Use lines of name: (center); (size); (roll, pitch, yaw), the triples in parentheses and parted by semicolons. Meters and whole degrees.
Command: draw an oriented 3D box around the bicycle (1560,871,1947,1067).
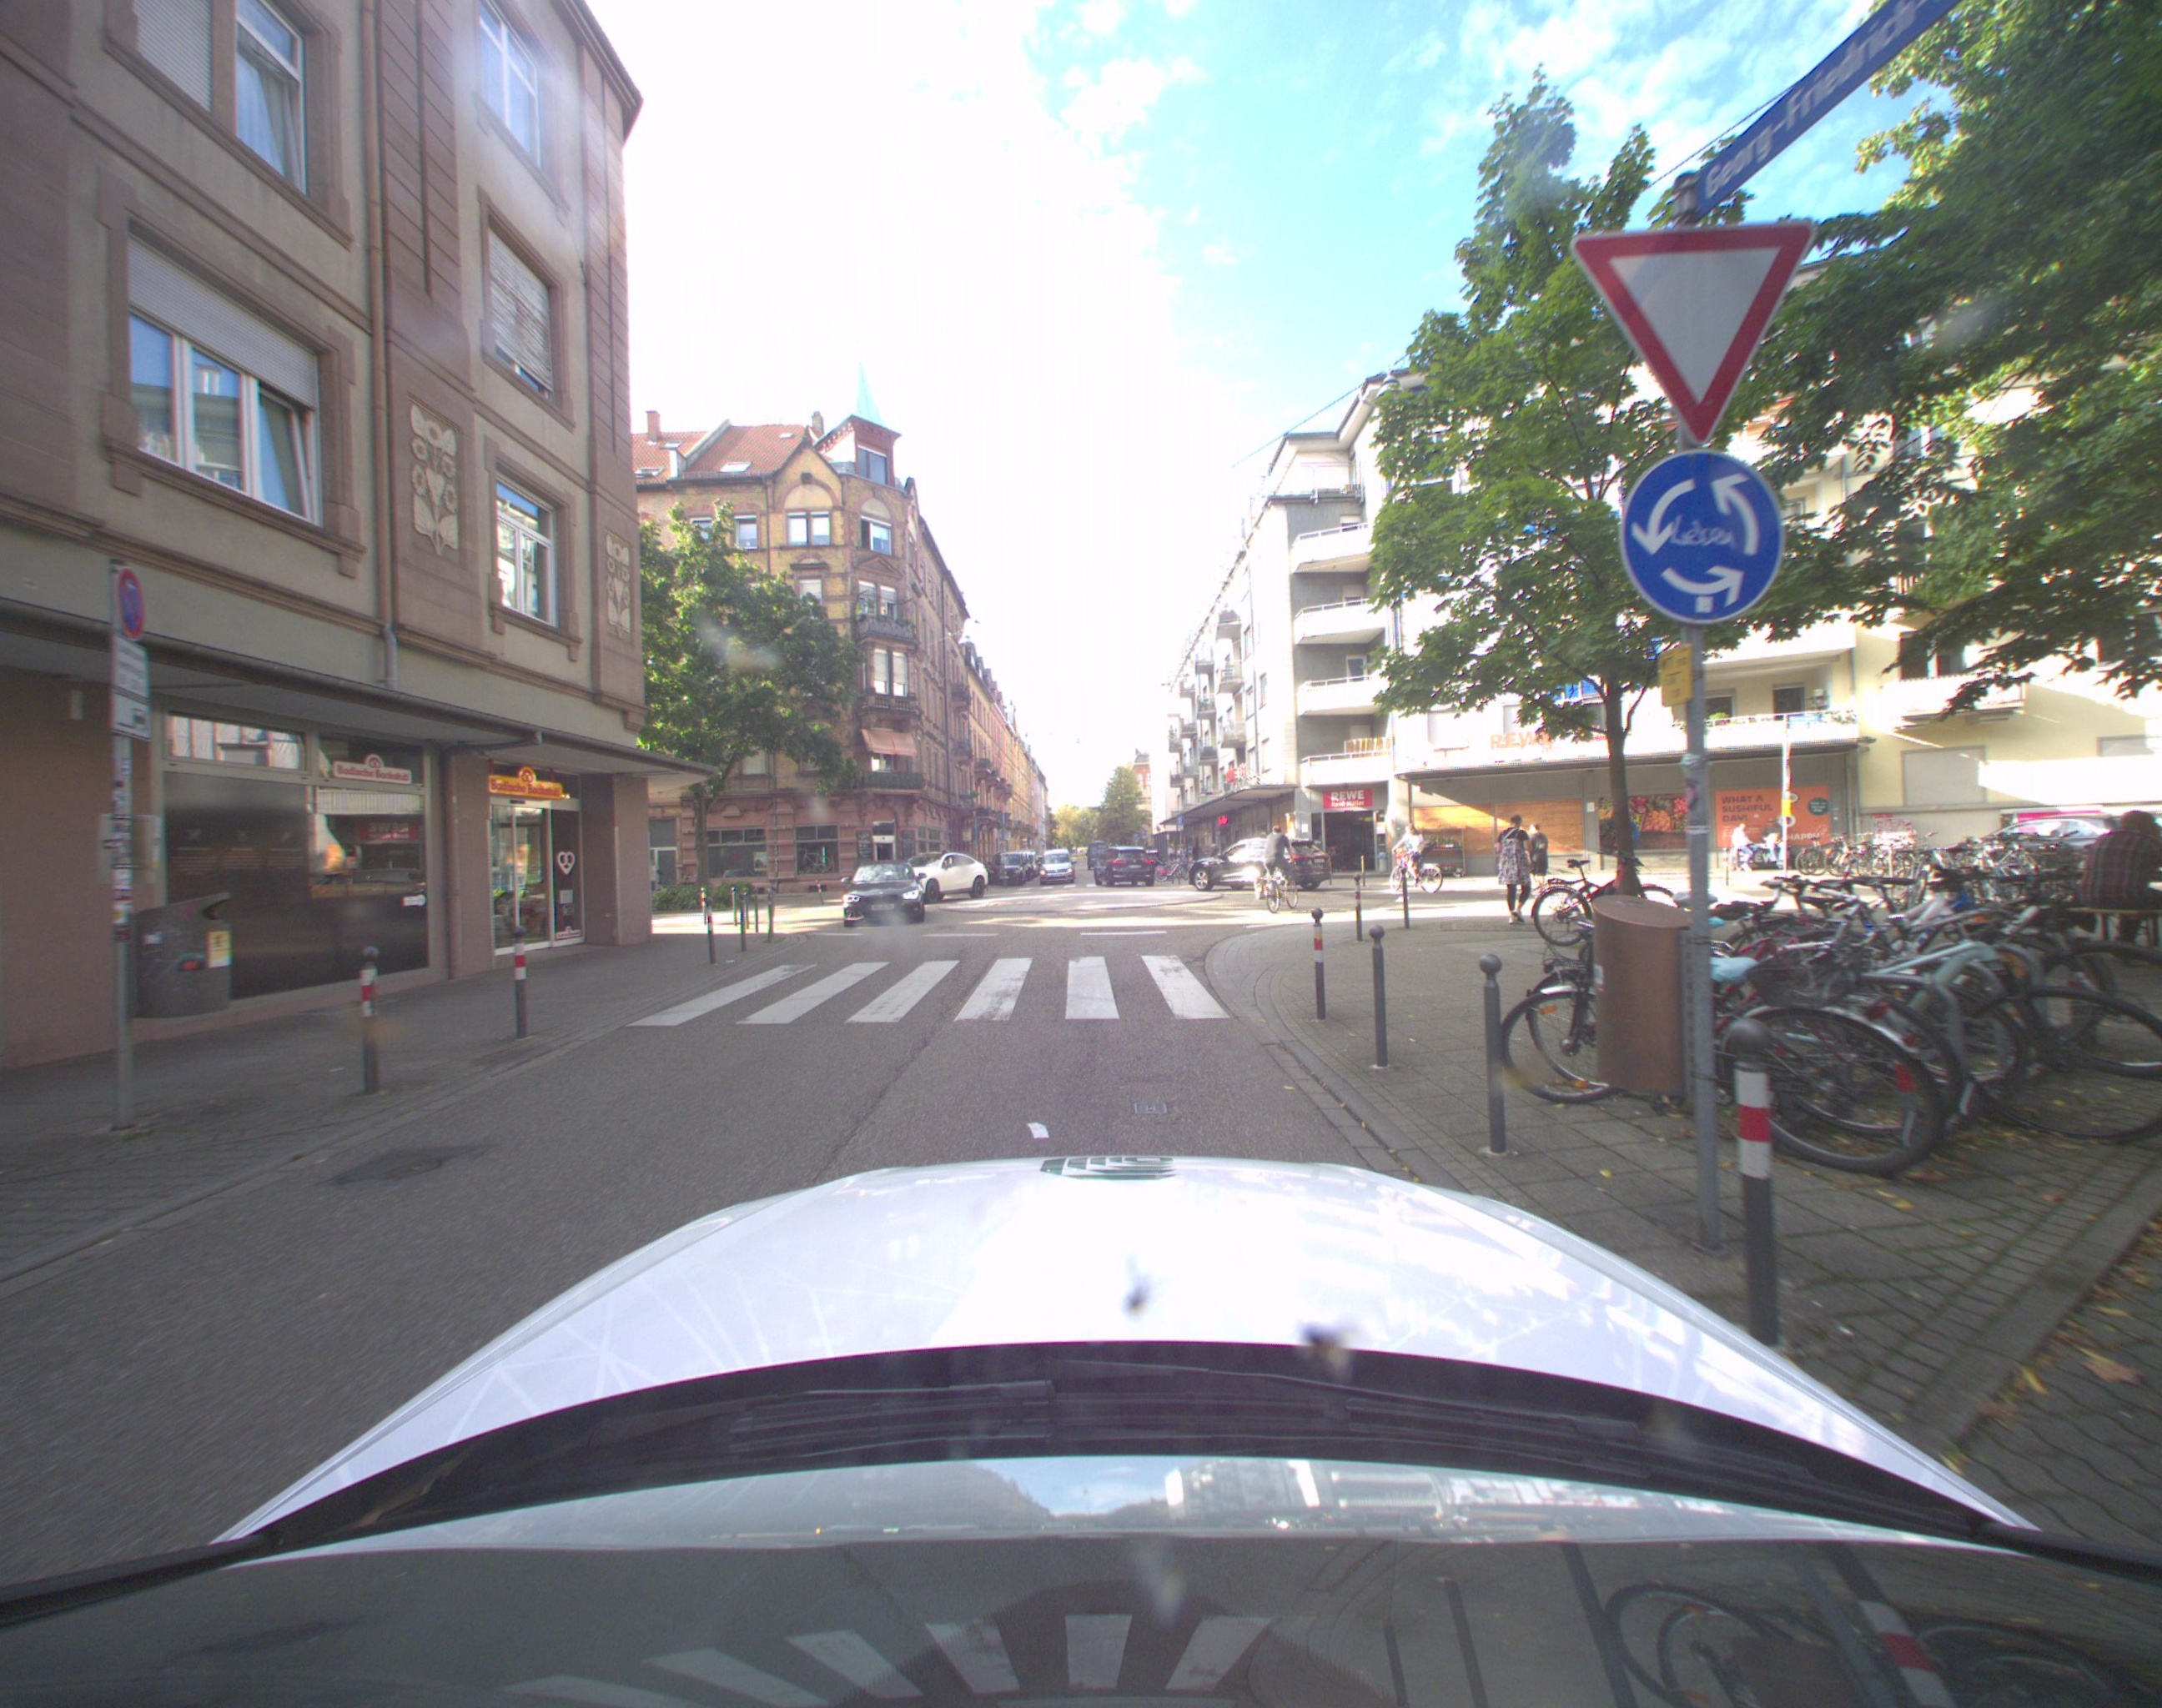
bicycle: (4.275, 0.669, 5.388); (0.391, 1.040, 1.903); (-6, 0, -29)

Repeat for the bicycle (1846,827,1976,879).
bicycle: (19.758, -0.023, 19.416); (2.309, 1.141, 0.753); (-2, 0, 1)

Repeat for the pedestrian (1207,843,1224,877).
pedestrian: (6.588, 0.294, 39.795); (0.740, 1.629, 0.815); (-2, 0, 11)

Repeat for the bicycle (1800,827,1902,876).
bicycle: (19.797, -0.073, 20.951); (2.132, 1.141, 0.485); (-3, 0, 0)

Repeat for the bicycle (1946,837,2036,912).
bicycle: (13.859, 0.298, 12.449); (0.337, 1.053, 2.054); (-3, -2, 33)

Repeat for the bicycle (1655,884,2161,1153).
bicycle: (4.035, 0.691, 4.116); (0.349, 1.040, 1.840); (-6, 0, -27)

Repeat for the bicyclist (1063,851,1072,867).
bicyclist: (-1.667, 0.641, 99.622); (1.131, 1.998, 1.026); (0, -1, -4)

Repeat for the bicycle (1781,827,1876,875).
bicycle: (19.722, -0.086, 21.504); (2.072, 1.141, 0.435); (-3, 0, 0)

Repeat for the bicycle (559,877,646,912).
bicycle: (-18.615, 1.568, 31.717); (2.890, 1.190, 0.632); (-3, 0, -4)

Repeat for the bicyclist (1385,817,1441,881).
bicyclist: (8.859, -0.135, 21.747); (0.948, 1.668, 1.004); (-2, 0, -39)

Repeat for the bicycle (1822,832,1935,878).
bicycle: (19.854, 0.023, 20.301); (2.049, 1.032, 0.753); (-3, 0, 1)

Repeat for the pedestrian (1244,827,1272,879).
pedestrian: (6.433, -0.028, 29.583); (0.864, 1.851, 0.613); (-2, 0, 5)

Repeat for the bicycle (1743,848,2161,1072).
bicycle: (5.054, 0.549, 4.752); (0.355, 1.074, 1.781); (-6, 0, -29)

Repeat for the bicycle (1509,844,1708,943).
bicycle: (6.352, 0.461, 9.879); (1.915, 1.094, 0.653); (-2, 0, 4)

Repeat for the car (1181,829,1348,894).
car: (5.615, 0.246, 25.422); (2.053, 1.724, 4.790); (-5, 2, -38)

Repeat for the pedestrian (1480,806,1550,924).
pedestrian: (6.810, 0.170, 12.781); (0.774, 1.779, 0.798); (-3, 0, 38)

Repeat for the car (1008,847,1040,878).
car: (-3.887, 0.577, 56.300); (1.988, 2.013, 3.997); (-3, 0, -2)

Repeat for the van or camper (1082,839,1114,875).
van or camper: (1.485, 0.229, 73.123); (2.525, 3.037, 4.455); (-2, 0, -2)

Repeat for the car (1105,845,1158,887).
car: (2.088, 0.475, 34.702); (1.987, 1.618, 3.999); (-2, 0, 0)

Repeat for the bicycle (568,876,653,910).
bicycle: (-18.716, 1.553, 32.448); (2.890, 1.197, 0.632); (-3, 0, -4)

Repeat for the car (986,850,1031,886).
car: (-3.878, 0.716, 44.031); (1.775, 1.724, 4.449); (-1, 2, 3)

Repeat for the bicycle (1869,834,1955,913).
bicycle: (13.008, 0.304, 12.803); (0.424, 1.156, 2.010); (-3, -2, 31)

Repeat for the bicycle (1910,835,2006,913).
bicycle: (13.428, 0.308, 12.521); (0.475, 1.104, 2.039); (-3, -2, 33)

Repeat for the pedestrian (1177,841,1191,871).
pedestrian: (6.778, 0.123, 53.465); (0.725, 1.864, 1.067); (-2, 0, 15)

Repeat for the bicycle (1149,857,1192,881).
bicycle: (4.305, 0.702, 39.072); (1.992, 1.045, 0.532); (-3, 0, 2)

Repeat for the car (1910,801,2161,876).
car: (22.353, -0.345, 18.875); (1.992, 1.510, 3.990); (-2, 0, -7)

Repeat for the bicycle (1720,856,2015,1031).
bicycle: (5.350, 0.552, 5.632); (0.453, 1.040, 1.372); (-2, 0, -30)

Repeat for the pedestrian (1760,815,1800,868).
pedestrian: (20.729, -0.370, 24.150); (0.740, 1.550, 0.736); (0, 1, 26)

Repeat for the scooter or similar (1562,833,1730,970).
scooter or similar: (5.575, 0.456, 8.120); (1.233, 1.274, 0.668); (-2, 0, 24)

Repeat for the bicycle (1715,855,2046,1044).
bicycle: (5.098, 0.569, 5.304); (0.337, 1.040, 1.443); (-6, 0, -29)

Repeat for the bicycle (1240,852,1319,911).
bicycle: (4.336, 0.553, 17.614); (0.659, 1.178, 2.513); (-1, 0, 38)

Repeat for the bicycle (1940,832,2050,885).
bicycle: (20.157, 0.083, 17.992); (1.545, 1.141, 0.578); (0, 0, 16)

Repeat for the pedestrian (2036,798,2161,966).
pedestrian: (9.065, 0.225, 7.122); (0.755, 1.392, 0.548); (-2, 0, -4)

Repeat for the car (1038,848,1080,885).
car: (-1.106, 0.624, 43.578); (1.785, 1.790, 4.739); (-3, 0, 3)

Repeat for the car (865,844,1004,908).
car: (-4.742, 0.668, 27.242); (1.924, 1.722, 4.880); (-3, 2, 27)

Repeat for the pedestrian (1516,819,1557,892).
pedestrian: (11.225, 0.042, 20.075); (0.624, 1.739, 0.778); (-2, 0, 12)

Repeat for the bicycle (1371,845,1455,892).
bicycle: (8.845, 0.390, 21.769); (0.716, 1.199, 1.952); (-2, 0, -39)

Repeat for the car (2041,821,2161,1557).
car: (4.214, 0.594, 1.894); (3.954, 1.457, 1.753); (-2, 0, -28)

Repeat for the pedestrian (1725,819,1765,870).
pedestrian: (19.880, -0.286, 24.389); (0.743, 1.479, 0.590); (-3, 0, 25)

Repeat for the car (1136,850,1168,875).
car: (4.278, 0.509, 49.552); (1.639, 1.324, 3.578); (-5, 0, 2)

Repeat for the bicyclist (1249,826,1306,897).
bicyclist: (4.217, 0.158, 17.467); (0.924, 1.484, 0.752); (-1, 0, 40)

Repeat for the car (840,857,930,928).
car: (-4.528, 0.840, 19.318); (1.750, 1.436, 4.197); (-1, -1, -10)

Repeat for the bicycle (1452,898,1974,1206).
bicycle: (2.802, 0.767, 3.887); (0.551, 1.040, 1.839); (-6, 0, -29)

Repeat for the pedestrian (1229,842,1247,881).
pedestrian: (6.993, 0.325, 36.238); (0.736, 1.712, 0.736); (-2, 0, 11)

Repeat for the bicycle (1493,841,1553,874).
bicycle: (14.580, 0.117, 26.896); (1.663, 1.050, 0.461); (-2, 0, 40)

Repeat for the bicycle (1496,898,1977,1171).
bicycle: (3.189, 0.780, 4.215); (0.462, 1.040, 1.839); (-6, 0, -29)

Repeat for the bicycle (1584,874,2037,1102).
bicycle: (4.101, 0.675, 4.801); (0.446, 1.040, 1.888); (-6, 0, -29)

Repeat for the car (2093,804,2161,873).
car: (25.073, -0.383, 17.315); (1.992, 1.532, 3.989); (-2, 0, -8)

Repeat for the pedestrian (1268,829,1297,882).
pedestrian: (7.298, 0.053, 29.503); (0.864, 1.851, 0.613); (-2, 0, 5)

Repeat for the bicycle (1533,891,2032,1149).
bicycle: (3.538, 0.741, 4.396); (0.349, 1.040, 2.000); (-6, 0, -27)

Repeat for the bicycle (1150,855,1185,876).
bicycle: (4.409, 0.585, 41.571); (1.799, 1.027, 0.673); (-2, 0, -38)

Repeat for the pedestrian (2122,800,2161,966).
pedestrian: (9.123, 0.220, 6.539); (0.755, 1.342, 0.596); (-2, 0, -4)

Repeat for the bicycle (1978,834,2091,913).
bicycle: (14.172, 0.272, 12.169); (0.475, 1.090, 2.099); (-3, -1, 33)

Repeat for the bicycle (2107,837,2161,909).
bicycle: (15.392, 0.258, 11.362); (0.475, 1.011, 1.627); (-2, -2, 18)
